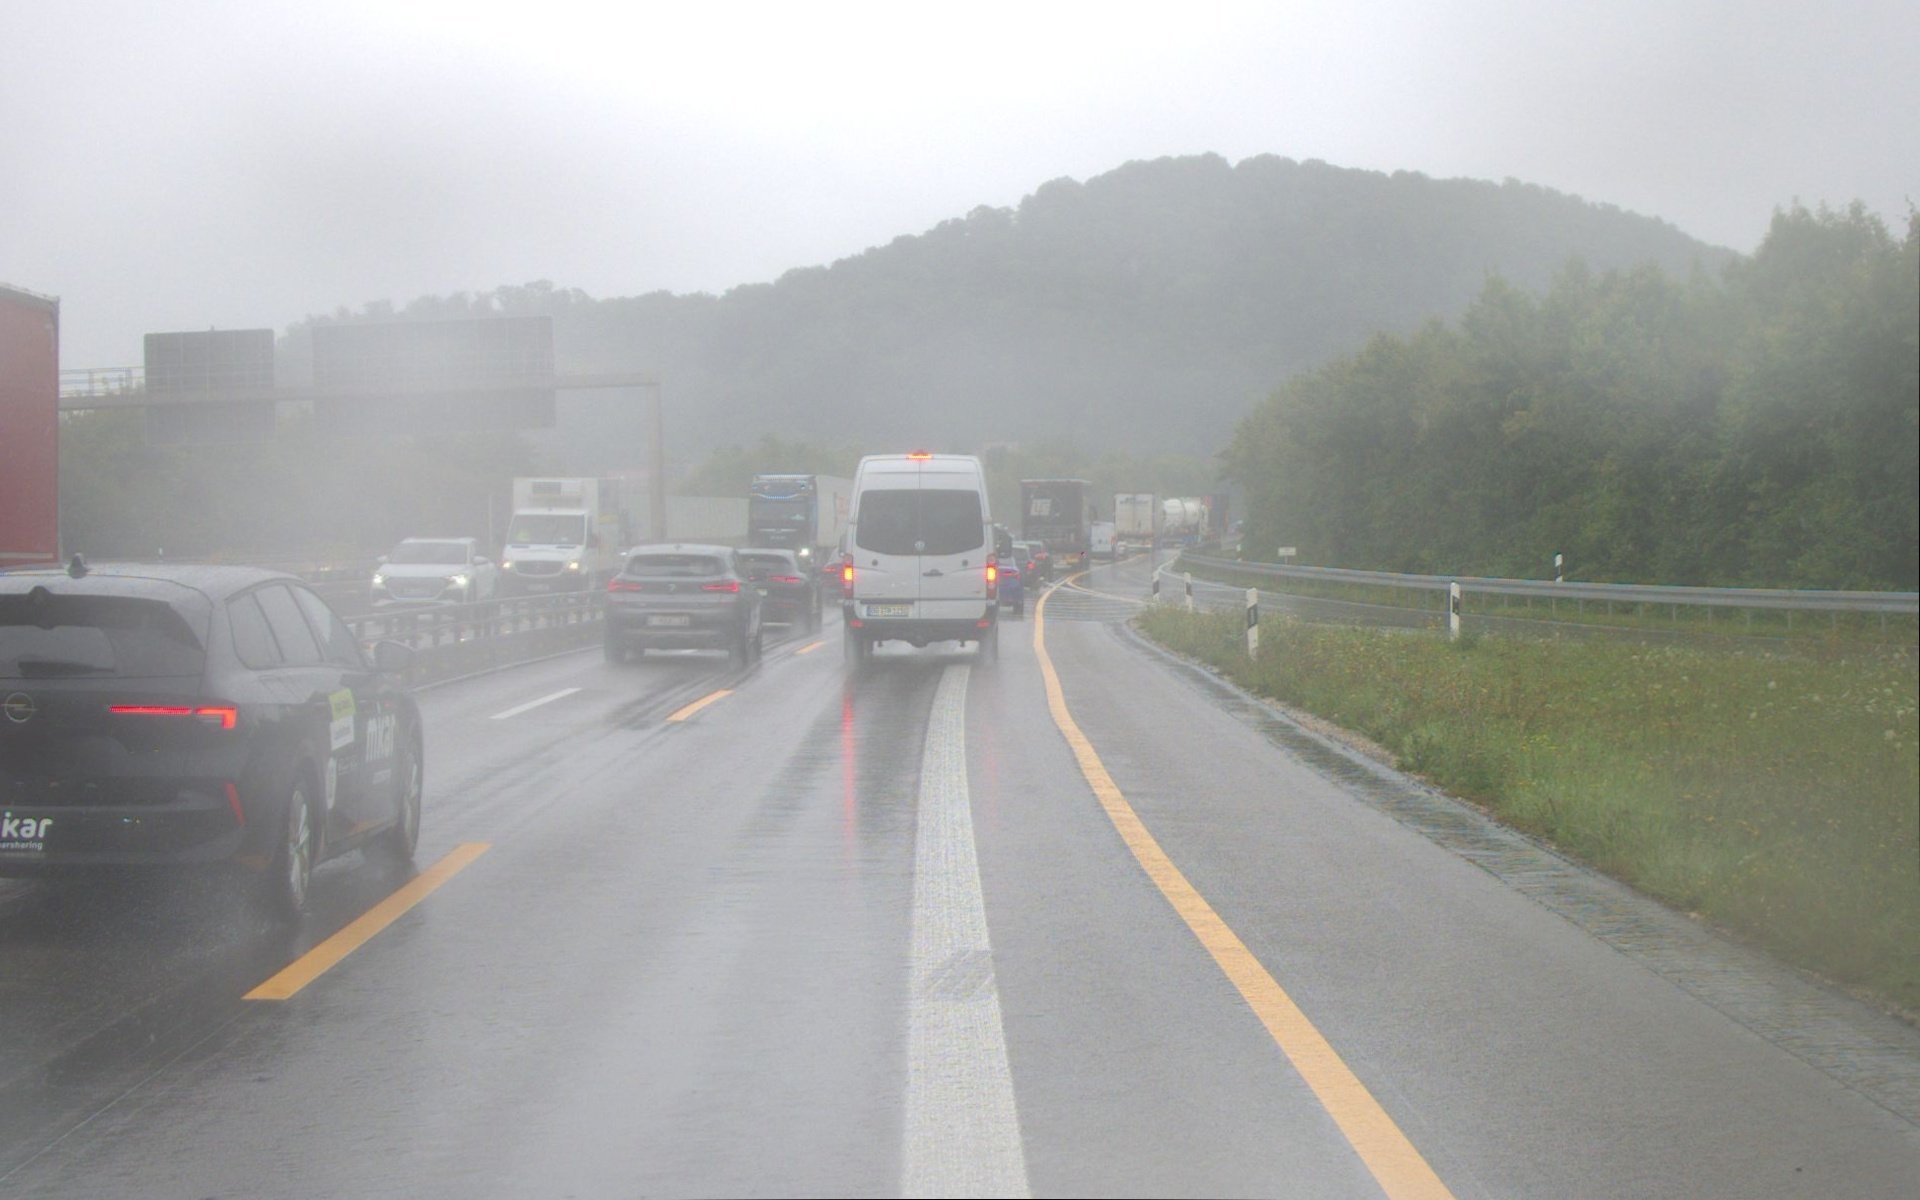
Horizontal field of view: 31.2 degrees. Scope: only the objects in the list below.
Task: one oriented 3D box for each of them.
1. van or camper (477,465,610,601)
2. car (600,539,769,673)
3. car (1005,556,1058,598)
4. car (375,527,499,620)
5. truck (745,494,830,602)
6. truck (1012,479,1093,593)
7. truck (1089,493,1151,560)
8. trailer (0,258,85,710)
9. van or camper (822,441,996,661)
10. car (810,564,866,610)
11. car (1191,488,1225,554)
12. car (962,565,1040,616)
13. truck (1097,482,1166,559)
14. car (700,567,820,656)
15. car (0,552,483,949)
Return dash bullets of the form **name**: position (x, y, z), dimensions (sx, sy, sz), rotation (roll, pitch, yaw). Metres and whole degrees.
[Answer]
- **van or camper**: position (-9.788, -1.553, 81.380), dimensions (2.293, 3.031, 6.699), rotation (1, 0, 0)
- **car**: position (-3.505, 0.050, 44.331), dimensions (1.867, 1.653, 3.988), rotation (0, 1, 0)
- **car**: position (2.161, -0.721, 104.477), dimensions (1.384, 1.252, 3.123), rotation (0, 1, -3)
- **car**: position (-9.873, -0.503, 65.135), dimensions (1.636, 1.662, 4.544), rotation (1, 0, 0)
- **truck**: position (-6.837, -2.047, 137.076), dimensions (2.889, 4.217, 6.326), rotation (0, 0, 1)
- **truck**: position (4.017, -2.768, 151.088), dimensions (3.320, 4.768, 9.906), rotation (1, 0, 1)
- **truck**: position (9.406, -4.276, 202.719), dimensions (3.320, 3.749, 9.906), rotation (1, 0, 1)
- **trailer**: position (-10.576, -1.052, 29.849), dimensions (2.976, 4.280, 11.060), rotation (-1, 1, 1)
- **van or camper**: position (-0.634, -0.634, 44.847), dimensions (2.139, 2.712, 4.648), rotation (0, 1, 0)
- **car**: position (-2.948, -0.331, 83.489), dimensions (1.262, 1.074, 3.254), rotation (0, 1, 0)
- **car**: position (15.966, -5.092, 221.743), dimensions (2.058, 4.177, 6.745), rotation (0, 1, 3)
- **car**: position (0.889, -0.220, 75.874), dimensions (1.384, 1.074, 3.123), rotation (0, 1, -5)
- **truck**: position (11.268, -5.155, 225.325), dimensions (3.929, 4.768, 9.904), rotation (1, 0, 6)
- **car**: position (-3.514, 0.179, 61.015), dimensions (1.852, 1.495, 4.000), rotation (0, 1, 0)
- **car**: position (-3.321, 0.516, 14.849), dimensions (1.939, 1.422, 4.760), rotation (1, 1, -1)
